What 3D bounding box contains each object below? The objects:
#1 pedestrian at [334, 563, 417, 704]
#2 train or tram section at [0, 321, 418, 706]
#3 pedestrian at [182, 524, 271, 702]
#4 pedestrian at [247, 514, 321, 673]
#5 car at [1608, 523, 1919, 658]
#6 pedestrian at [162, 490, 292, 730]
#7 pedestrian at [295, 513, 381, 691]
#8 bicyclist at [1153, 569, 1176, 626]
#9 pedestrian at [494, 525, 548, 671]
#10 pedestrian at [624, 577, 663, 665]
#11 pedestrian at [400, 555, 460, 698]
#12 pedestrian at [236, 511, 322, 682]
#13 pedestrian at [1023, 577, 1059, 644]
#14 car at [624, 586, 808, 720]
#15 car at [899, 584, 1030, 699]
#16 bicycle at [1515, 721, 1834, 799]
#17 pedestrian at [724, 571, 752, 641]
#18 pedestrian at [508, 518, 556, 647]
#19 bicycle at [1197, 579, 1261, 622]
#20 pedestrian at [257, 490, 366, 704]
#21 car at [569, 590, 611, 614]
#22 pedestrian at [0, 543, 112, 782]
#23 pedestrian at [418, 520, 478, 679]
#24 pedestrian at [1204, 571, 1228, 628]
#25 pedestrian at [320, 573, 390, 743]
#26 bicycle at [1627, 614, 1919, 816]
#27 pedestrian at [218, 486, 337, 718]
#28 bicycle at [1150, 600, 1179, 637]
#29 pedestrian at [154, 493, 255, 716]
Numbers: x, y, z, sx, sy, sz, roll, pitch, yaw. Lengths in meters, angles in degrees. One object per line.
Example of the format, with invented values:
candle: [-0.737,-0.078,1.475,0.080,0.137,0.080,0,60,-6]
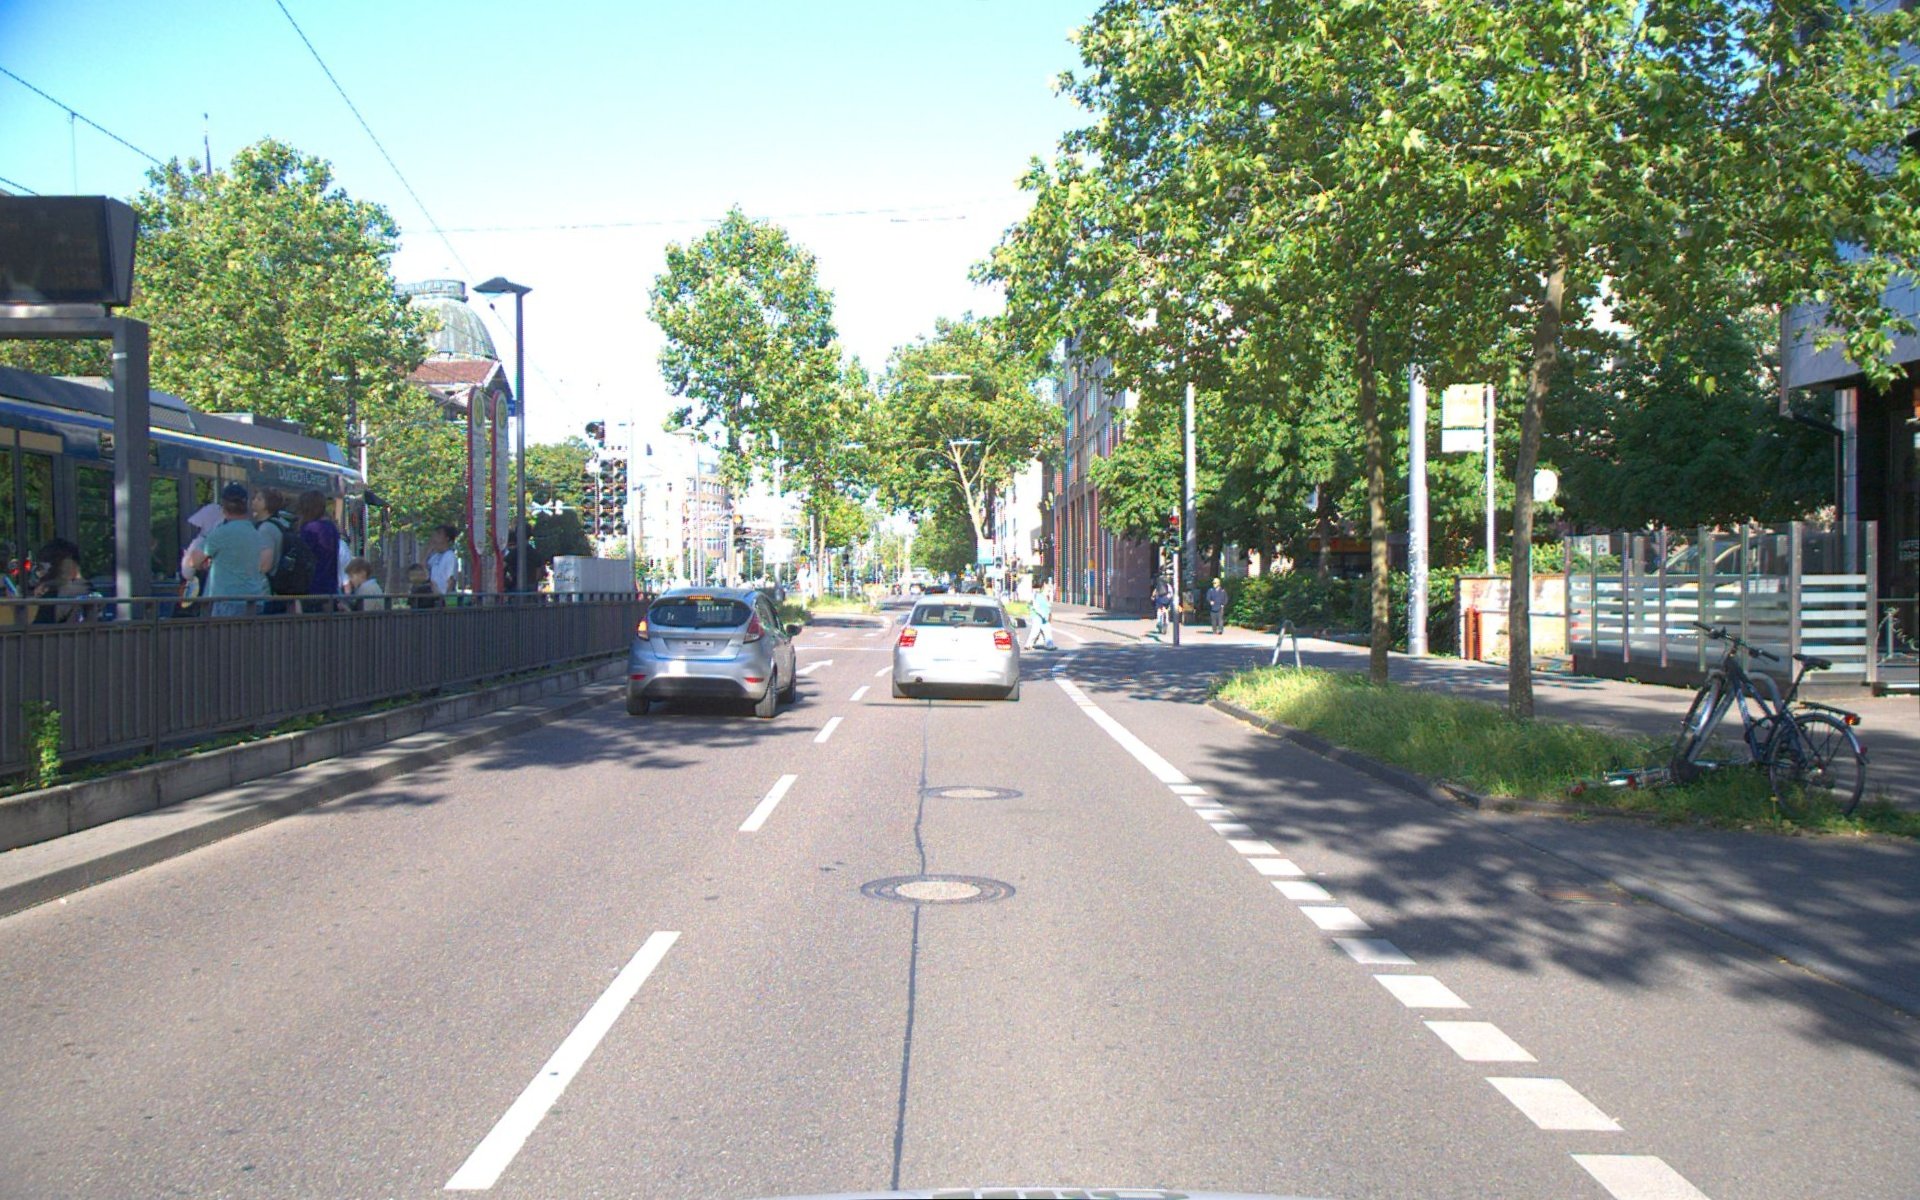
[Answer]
pedestrian: [-5.169,0.289,14.637,0.534,1.213,0.531,-1,0,-1]
train or tram section: [-9.799,-0.745,19.076,2.855,3.317,13.110,1,0,-1]
pedestrian: [-6.518,0.112,14.716,0.534,1.545,0.531,-1,0,-1]
pedestrian: [-7.479,-0.075,18.304,0.597,1.732,0.545,-1,0,-5]
car: [14.021,-0.176,28.605,4.798,2.019,1.913,-3,0,-1]
pedestrian: [-5.219,0.066,11.798,0.647,1.662,0.571,-1,0,0]
pedestrian: [-6.195,0.020,16.486,0.496,1.732,0.610,-1,0,30]
bicyclist: [6.153,-0.080,49.767,0.644,1.686,0.765,-1,0,8]
pedestrian: [-5.413,-0.030,20.406,0.537,1.764,0.539,-1,0,-5]
pedestrian: [-5.802,0.380,30.315,0.618,1.584,0.646,0,0,-5]
pedestrian: [-5.077,0.248,15.852,0.407,1.339,0.507,-1,0,-3]
pedestrian: [-6.839,-0.042,16.630,0.606,1.678,0.622,-1,0,-5]
pedestrian: [1.956,0.252,39.810,0.812,1.603,0.739,0,0,7]
car: [-2.823,0.574,19.846,1.626,1.434,3.632,1,0,0]
car: [0.107,0.531,23.658,1.694,1.414,3.841,1,1,1]
bicycle: [4.809,1.078,11.283,1.576,0.359,1.389,-1,1,-1]
pedestrian: [-5.299,0.147,39.456,0.627,1.648,0.640,0,-2,-9]
pedestrian: [-5.965,-0.245,23.075,0.537,1.764,0.539,-1,0,-5]
bicycle: [8.671,0.016,53.421,1.955,1.337,0.574,-2,0,2]
pedestrian: [-5.352,-0.028,13.668,0.647,1.726,0.571,-1,0,0]
car: [-26.270,0.106,117.577,1.952,1.653,4.002,0,1,3]
pedestrian: [-5.089,0.332,9.101,0.523,1.268,0.604,-1,0,-3]
pedestrian: [-5.687,-0.008,18.386,0.495,1.732,0.611,-1,0,-5]
pedestrian: [7.507,-0.019,48.507,0.613,1.657,0.944,1,0,14]
pedestrian: [-6.528,0.611,17.857,0.542,1.801,0.611,-1,0,-5]
bicycle: [5.256,0.687,10.768,0.774,1.153,1.840,-1,1,-13]
pedestrian: [-5.207,0.015,12.649,0.647,1.726,0.571,-1,0,0]
bicycle: [6.169,0.534,49.793,0.814,1.059,1.876,-1,1,8]
pedestrian: [-6.040,0.032,13.246,0.504,1.738,0.621,-1,0,-1]
